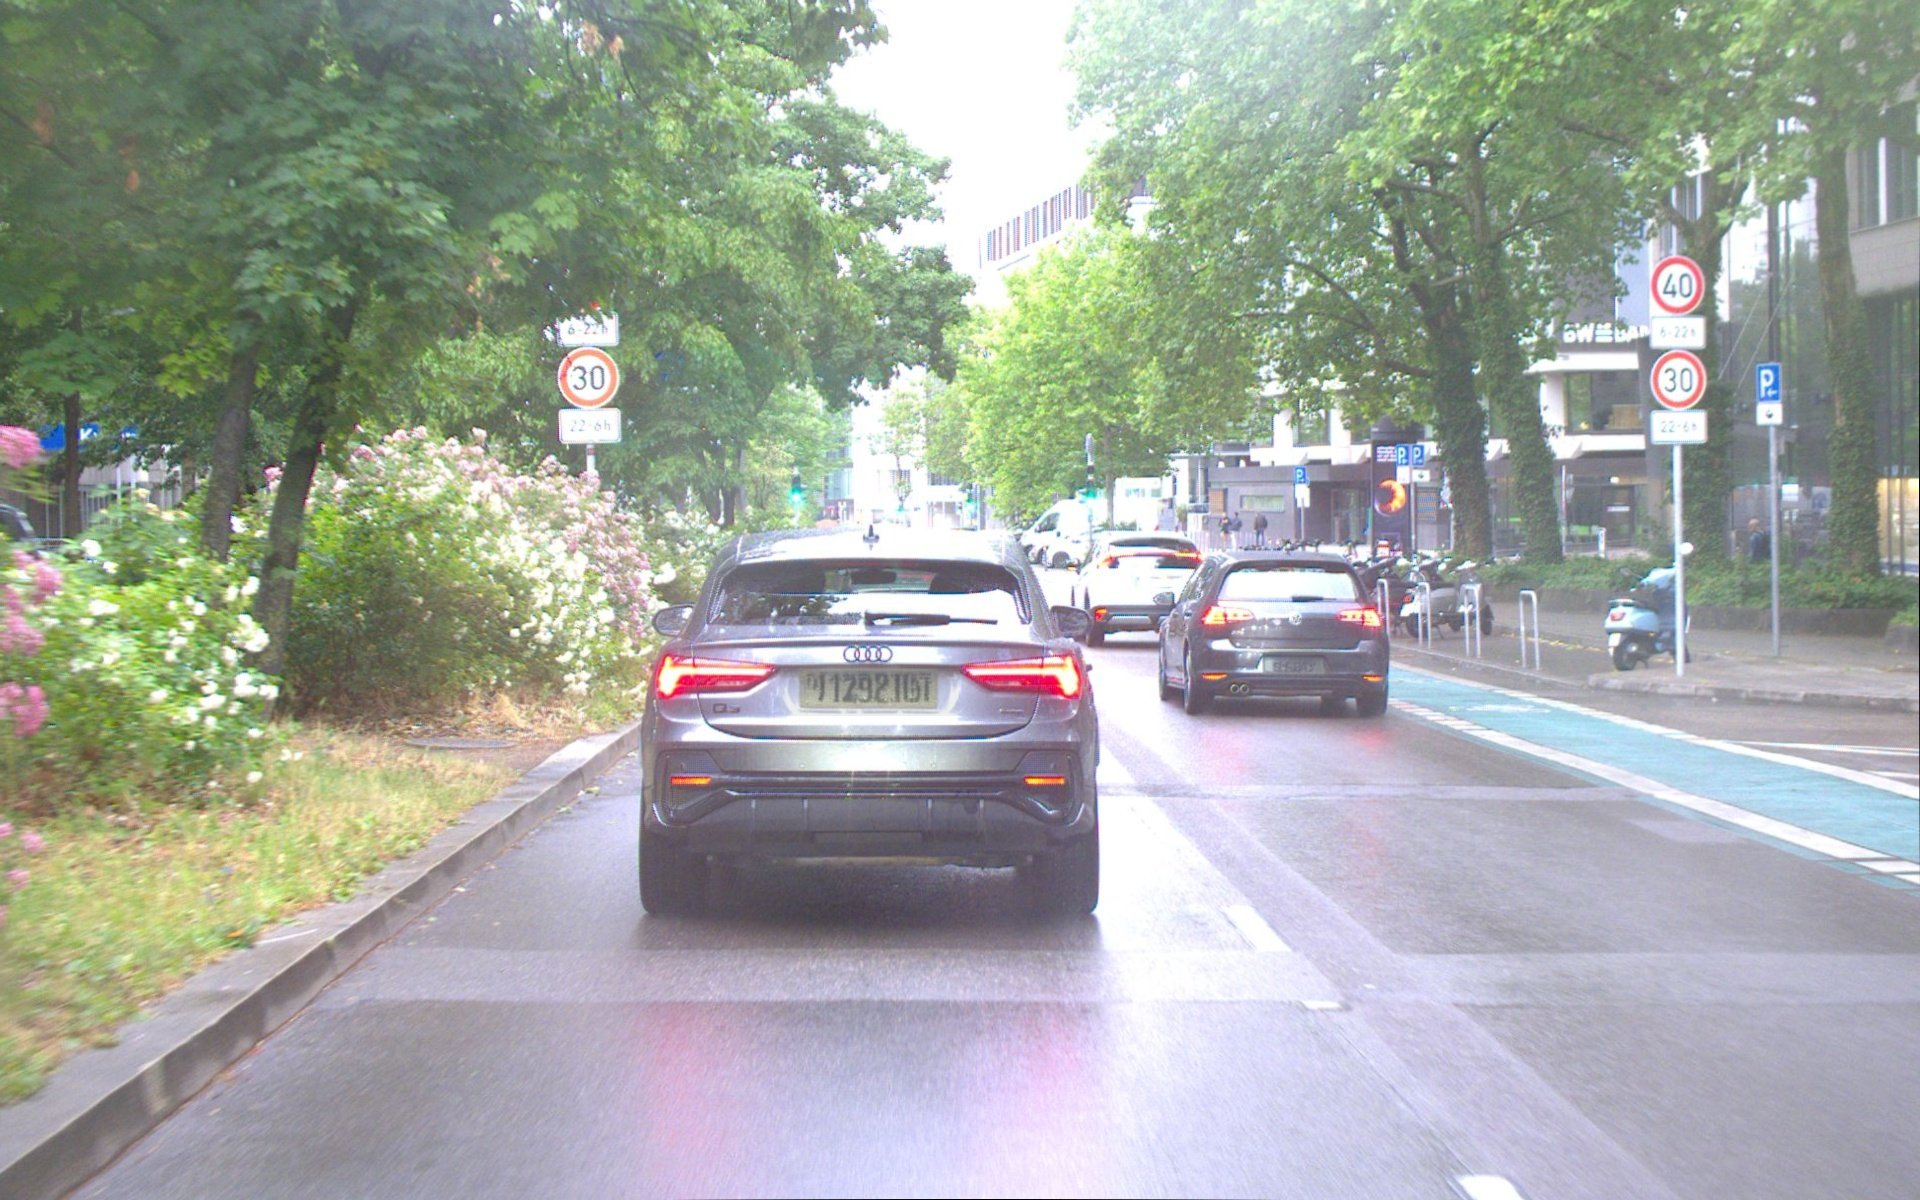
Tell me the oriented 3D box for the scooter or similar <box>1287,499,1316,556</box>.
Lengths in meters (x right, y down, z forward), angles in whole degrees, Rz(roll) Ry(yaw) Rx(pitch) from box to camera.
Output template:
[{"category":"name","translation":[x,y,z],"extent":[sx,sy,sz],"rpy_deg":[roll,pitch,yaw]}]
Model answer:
[{"category":"scooter or similar","translation":[7.808,-1.656,78.614],"extent":[0.487,1.255,1.294],"rpy_deg":[-2,3,-1]}]

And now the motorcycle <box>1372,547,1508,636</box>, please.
[{"category":"motorcycle","translation":[7.146,-0.135,51.113],"extent":[2.054,1.208,0.685],"rpy_deg":[-4,1,-36]}]

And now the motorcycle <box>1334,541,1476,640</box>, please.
[{"category":"motorcycle","translation":[6.924,-0.157,53.480],"extent":[2.053,1.423,0.729],"rpy_deg":[-3,3,-22]}]

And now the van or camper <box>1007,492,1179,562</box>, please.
[{"category":"van or camper","translation":[4.938,-2.705,128.050],"extent":[6.074,2.549,2.102],"rpy_deg":[0,1,26]}]

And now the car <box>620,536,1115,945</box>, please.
[{"category":"car","translation":[-0.412,0.486,14.871],"extent":[1.849,1.518,4.039],"rpy_deg":[0,1,-2]}]

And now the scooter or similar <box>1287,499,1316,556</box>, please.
[{"category":"scooter or similar","translation":[7.808,-1.656,78.614],"extent":[0.487,1.255,1.294],"rpy_deg":[-2,3,-1]}]

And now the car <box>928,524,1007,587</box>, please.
[{"category":"car","translation":[0.155,-1.112,84.429],"extent":[1.849,1.518,4.039],"rpy_deg":[0,1,-1]}]

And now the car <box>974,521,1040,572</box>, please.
[{"category":"car","translation":[1.409,-1.636,103.975],"extent":[1.849,1.518,4.039],"rpy_deg":[0,1,-1]}]

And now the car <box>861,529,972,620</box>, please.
[{"category":"car","translation":[-0.767,-0.463,59.087],"extent":[1.849,1.518,4.039],"rpy_deg":[0,1,-1]}]

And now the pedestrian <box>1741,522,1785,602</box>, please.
[{"category":"pedestrian","translation":[18.082,-0.867,77.398],"extent":[0.825,1.797,0.729],"rpy_deg":[0,1,2]}]

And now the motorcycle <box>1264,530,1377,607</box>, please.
[{"category":"motorcycle","translation":[6.810,-0.603,64.893],"extent":[1.955,1.369,0.729],"rpy_deg":[-2,3,-17]}]

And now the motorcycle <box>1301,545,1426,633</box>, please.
[{"category":"motorcycle","translation":[6.796,-0.197,57.874],"extent":[1.955,1.369,0.729],"rpy_deg":[-3,3,-22]}]

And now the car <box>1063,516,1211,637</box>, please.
[{"category":"car","translation":[2.513,-0.365,49.592],"extent":[1.849,1.663,4.039],"rpy_deg":[0,1,-1]}]

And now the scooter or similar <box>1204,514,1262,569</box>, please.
[{"category":"scooter or similar","translation":[6.428,-1.378,80.914],"extent":[1.290,1.255,0.489],"rpy_deg":[-1,3,11]}]

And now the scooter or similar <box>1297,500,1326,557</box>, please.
[{"category":"scooter or similar","translation":[8.162,-1.664,79.850],"extent":[0.487,1.255,1.294],"rpy_deg":[-2,3,-1]}]

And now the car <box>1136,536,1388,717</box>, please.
[{"category":"car","translation":[2.658,0.190,31.095],"extent":[1.849,1.518,4.039],"rpy_deg":[0,1,-1]}]

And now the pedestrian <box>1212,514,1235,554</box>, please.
[{"category":"pedestrian","translation":[11.171,-2.805,145.968],"extent":[0.805,1.690,1.187],"rpy_deg":[0,1,-3]}]

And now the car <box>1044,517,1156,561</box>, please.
[{"category":"car","translation":[4.965,-2.161,122.116],"extent":[3.652,1.542,1.713],"rpy_deg":[1,1,18]}]

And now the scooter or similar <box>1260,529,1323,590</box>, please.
[{"category":"scooter or similar","translation":[7.136,-0.873,73.998],"extent":[1.289,1.274,0.537],"rpy_deg":[-1,3,3]}]

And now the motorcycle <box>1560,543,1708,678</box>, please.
[{"category":"motorcycle","translation":[7.424,0.105,37.786],"extent":[0.684,1.362,1.941],"rpy_deg":[-3,1,39]}]
